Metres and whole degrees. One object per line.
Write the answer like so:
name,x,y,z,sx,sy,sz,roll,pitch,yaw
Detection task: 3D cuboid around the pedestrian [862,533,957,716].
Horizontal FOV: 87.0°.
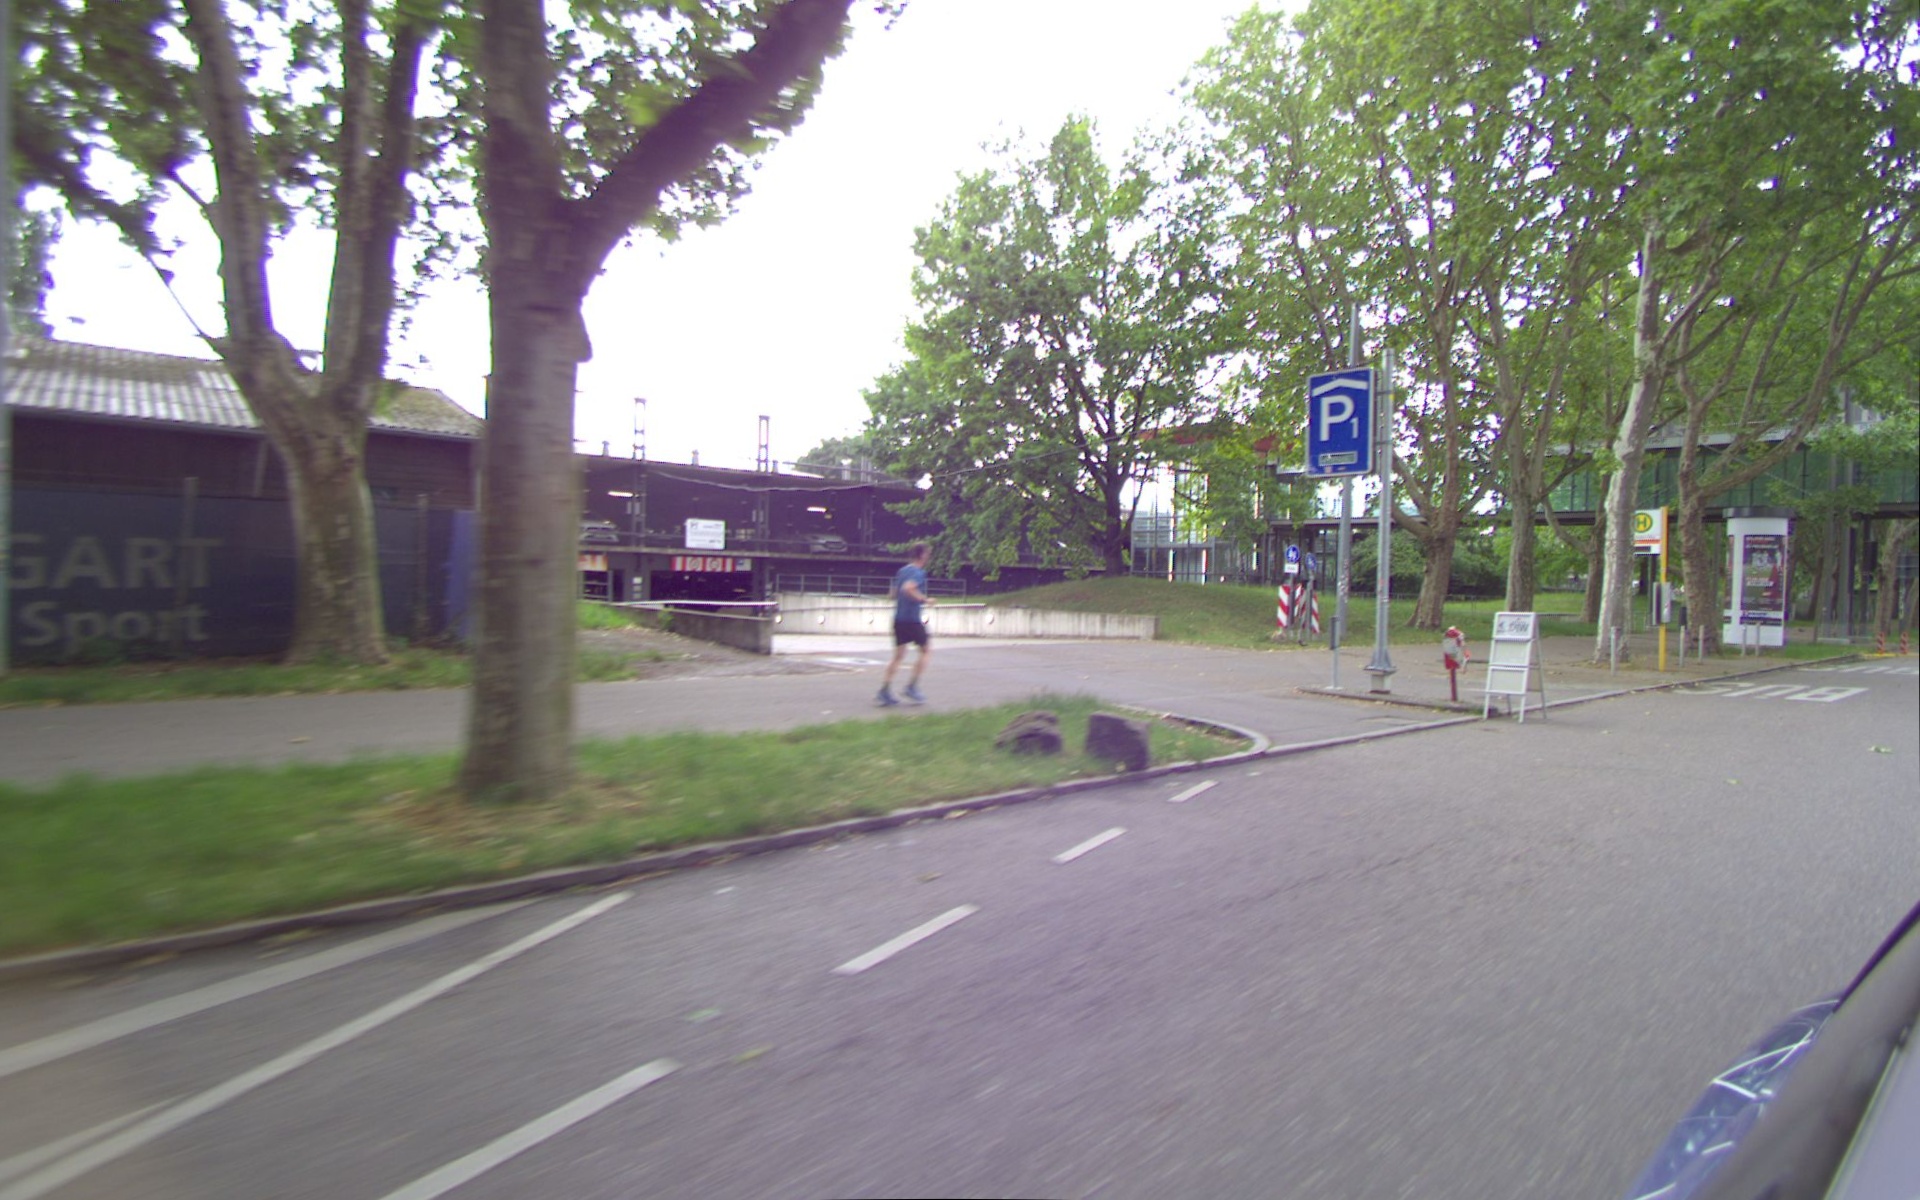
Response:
pedestrian,-0.590,0.271,11.820,0.864,2.039,0.712,0,0,-31
